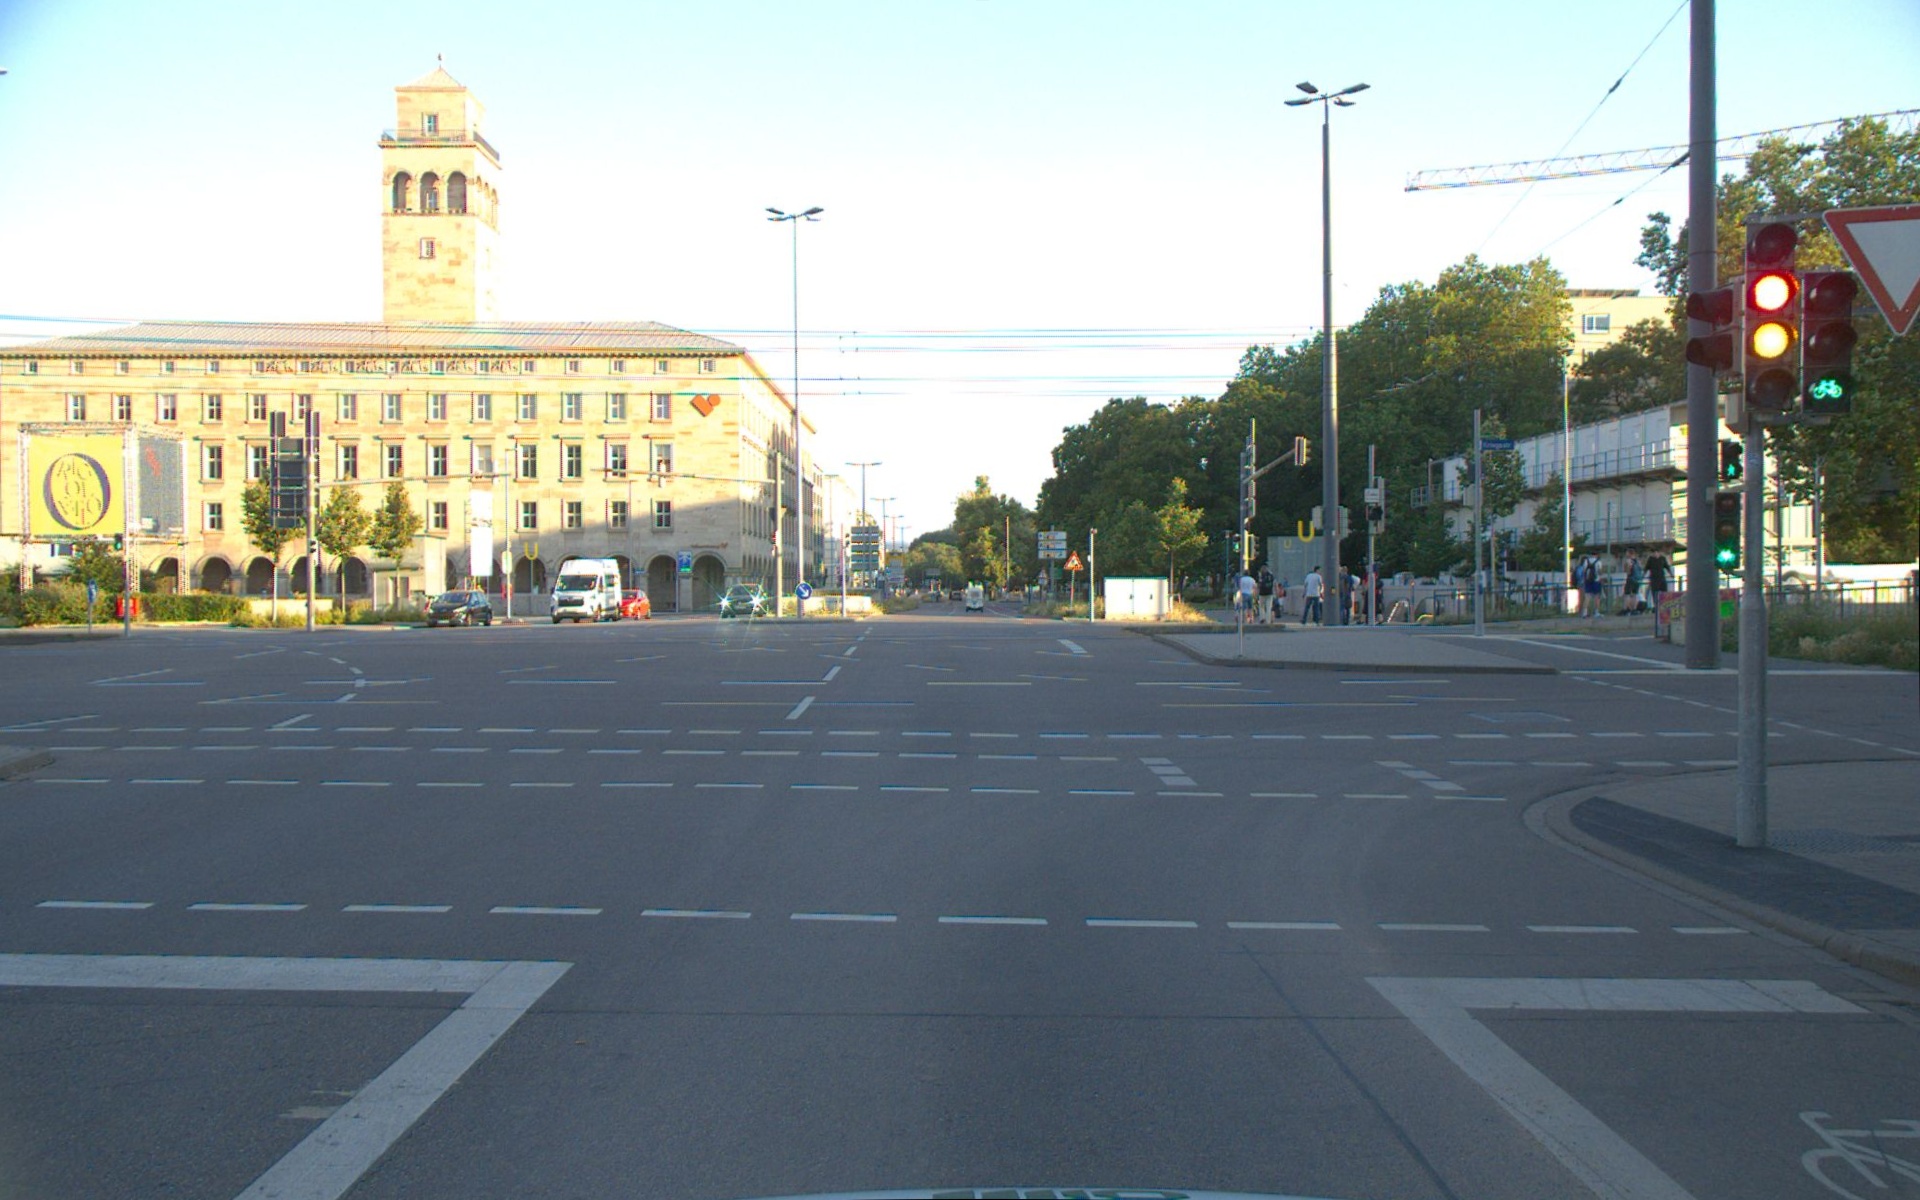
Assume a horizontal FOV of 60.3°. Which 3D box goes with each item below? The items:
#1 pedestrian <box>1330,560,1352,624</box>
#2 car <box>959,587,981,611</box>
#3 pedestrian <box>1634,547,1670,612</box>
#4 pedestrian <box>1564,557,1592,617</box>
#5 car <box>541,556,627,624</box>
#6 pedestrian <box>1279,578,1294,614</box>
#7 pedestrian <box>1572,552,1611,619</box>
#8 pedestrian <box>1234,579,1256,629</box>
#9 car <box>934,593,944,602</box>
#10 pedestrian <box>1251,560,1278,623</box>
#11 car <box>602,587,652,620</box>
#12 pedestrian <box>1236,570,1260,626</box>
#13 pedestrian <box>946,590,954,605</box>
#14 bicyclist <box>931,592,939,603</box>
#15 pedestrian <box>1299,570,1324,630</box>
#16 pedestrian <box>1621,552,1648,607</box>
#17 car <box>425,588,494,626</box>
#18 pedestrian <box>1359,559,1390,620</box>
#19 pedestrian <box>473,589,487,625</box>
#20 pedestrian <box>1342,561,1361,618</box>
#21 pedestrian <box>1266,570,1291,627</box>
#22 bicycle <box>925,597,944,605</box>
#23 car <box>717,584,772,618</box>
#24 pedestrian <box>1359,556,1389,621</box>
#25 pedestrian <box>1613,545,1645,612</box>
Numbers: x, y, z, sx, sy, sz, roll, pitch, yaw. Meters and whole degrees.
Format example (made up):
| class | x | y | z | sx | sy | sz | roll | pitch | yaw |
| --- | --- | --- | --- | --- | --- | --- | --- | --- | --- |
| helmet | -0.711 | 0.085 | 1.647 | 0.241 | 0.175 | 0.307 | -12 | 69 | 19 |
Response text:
| class | x | y | z | sx | sy | sz | roll | pitch | yaw |
| --- | --- | --- | --- | --- | --- | --- | --- | --- | --- |
| pedestrian | 11.048 | -0.234 | 47.978 | 0.560 | 1.822 | 0.639 | 0 | 1 | 20 |
| car | 0.744 | -0.109 | 123.565 | 1.454 | 1.725 | 2.971 | -1 | 1 | -4 |
| pedestrian | 19.037 | -0.570 | 45.532 | 0.696 | 1.755 | 0.668 | 0 | 1 | -2 |
| pedestrian | 16.758 | -0.346 | 44.849 | 0.559 | 1.620 | 0.536 | -1 | 0 | -1 |
| car | -16.298 | -0.468 | 72.074 | 2.232 | 2.824 | 6.085 | -1 | 1 | 1 |
| pedestrian | 17.164 | -0.214 | 86.951 | 0.652 | 1.874 | 0.713 | 0 | 1 | 4 |
| pedestrian | 16.730 | -0.397 | 43.818 | 0.661 | 1.755 | 0.704 | -1 | 1 | -35 |
| pedestrian | 10.452 | 0.137 | 60.617 | 0.665 | 1.788 | 0.902 | 0 | 1 | 20 |
| car | -3.011 | -0.319 | 234.856 | 1.342 | 1.255 | 3.044 | -1 | 1 | -2 |
| pedestrian | 8.672 | -0.252 | 47.095 | 0.696 | 1.755 | 0.916 | 0 | 1 | 14 |
| car | -16.205 | 0.146 | 80.629 | 1.703 | 1.513 | 4.000 | -1 | 1 | -1 |
| pedestrian | 9.075 | -0.062 | 52.058 | 0.695 | 1.755 | 0.669 | 0 | 1 | 13 |
| pedestrian | -1.185 | -0.268 | 194.626 | 0.888 | 1.700 | 1.306 | -1 | 1 | -2 |
| bicyclist | -3.322 | -0.292 | 220.103 | 0.820 | 1.489 | 0.655 | -1 | 1 | -27 |
| pedestrian | 10.456 | -0.017 | 49.226 | 0.695 | 1.755 | 0.916 | 0 | 1 | 14 |
| pedestrian | 18.037 | -0.542 | 44.239 | 0.662 | 1.466 | 0.714 | 0 | 0 | 21 |
| car | -21.094 | 0.261 | 69.850 | 1.786 | 1.491 | 4.156 | -1 | 1 | -2 |
| pedestrian | 11.947 | -0.303 | 47.730 | 0.826 | 1.764 | 0.706 | 0 | 1 | 11 |
| pedestrian | -24.224 | 0.346 | 83.486 | 0.609 | 1.774 | 0.459 | 1 | -1 | -6 |
| pedestrian | 11.716 | -0.317 | 49.504 | 0.560 | 1.708 | 0.639 | 0 | 1 | 13 |
| pedestrian | 9.985 | -0.047 | 51.851 | 0.696 | 1.755 | 0.669 | 0 | 1 | 16 |
| bicycle | -3.413 | 0.092 | 220.075 | 2.571 | 0.975 | 0.510 | 1 | -1 | -28 |
| car | -9.335 | 0.012 | 71.973 | 1.785 | 1.365 | 4.001 | 0 | 1 | 1 |
| pedestrian | 11.669 | -0.331 | 46.653 | 0.788 | 1.822 | 0.801 | 0 | 1 | 13 |
| pedestrian | 17.635 | -0.561 | 43.597 | 0.696 | 1.755 | 0.669 | 0 | 1 | 16 |
